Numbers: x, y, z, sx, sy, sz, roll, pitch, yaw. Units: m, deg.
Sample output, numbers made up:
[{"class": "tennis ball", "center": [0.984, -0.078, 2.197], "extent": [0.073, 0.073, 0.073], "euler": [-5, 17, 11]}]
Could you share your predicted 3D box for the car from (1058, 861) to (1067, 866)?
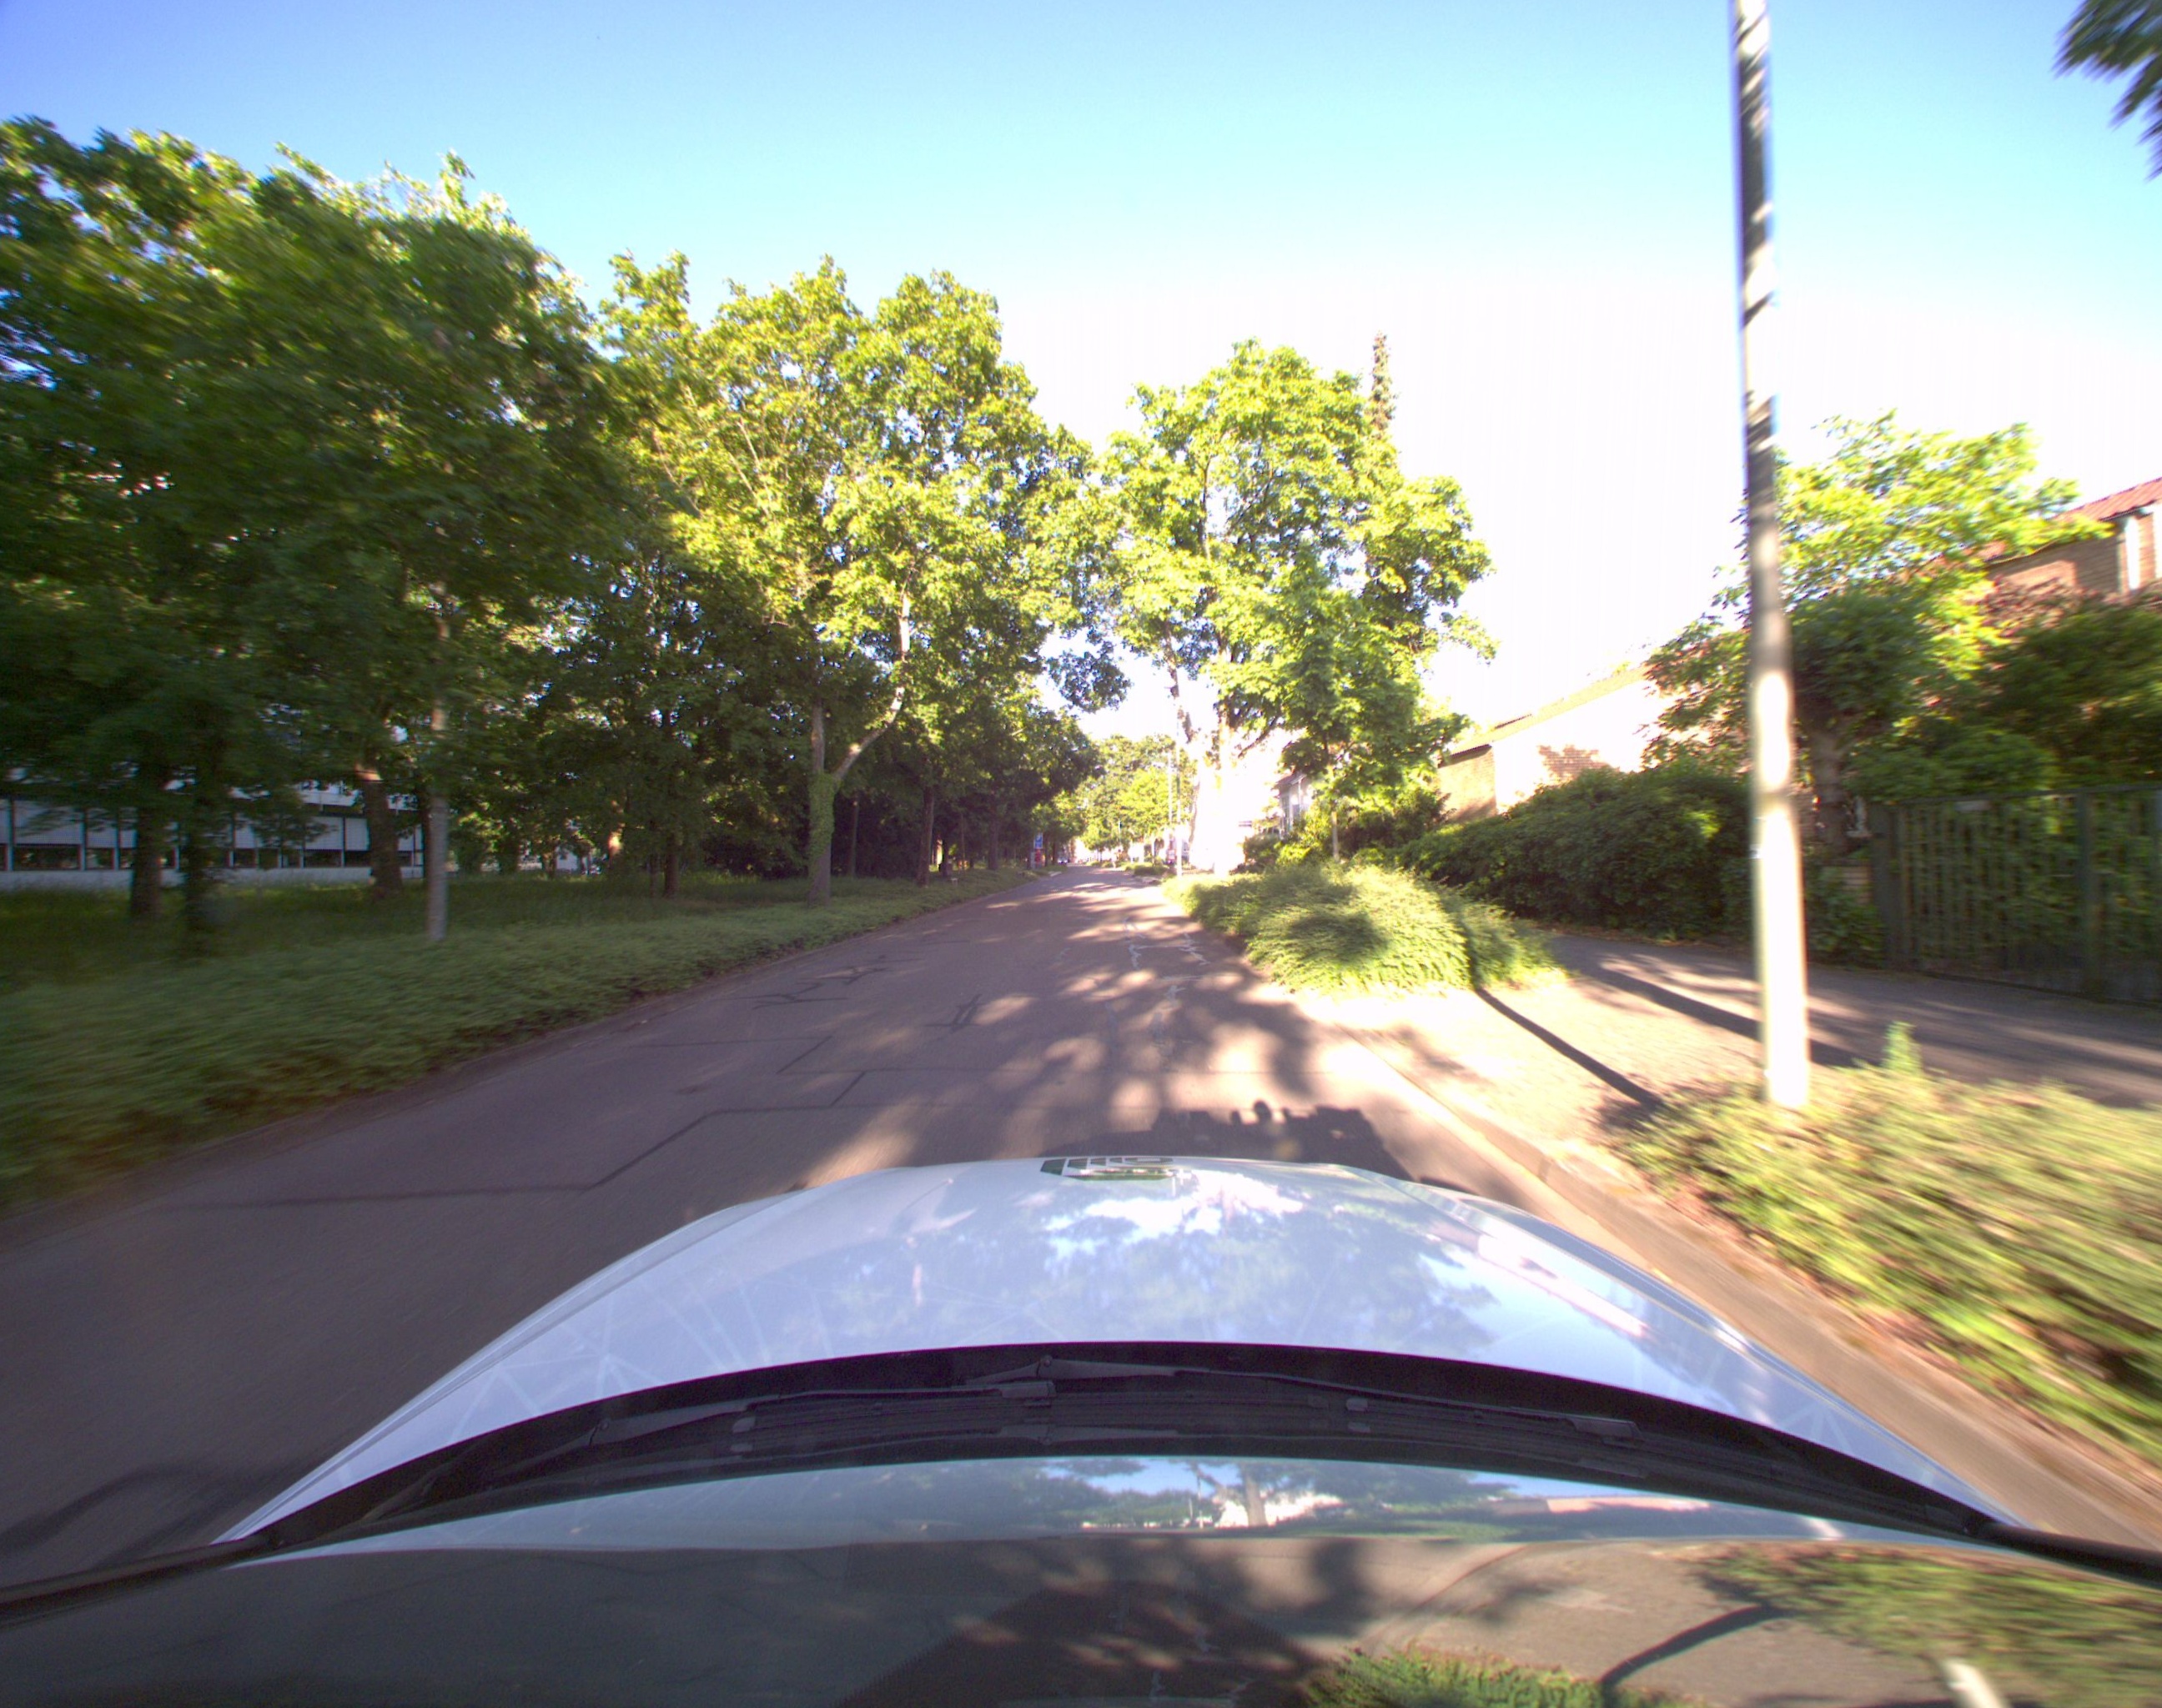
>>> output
[{"class": "car", "center": [-4.841, 2.444, 211.836], "extent": [1.992, 1.354, 3.531], "euler": [0, 0, -8]}]

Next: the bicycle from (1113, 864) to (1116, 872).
[{"class": "bicycle", "center": [4.502, 1.850, 110.187], "extent": [0.437, 0.978, 1.662], "euler": [-1, 1, 2]}]

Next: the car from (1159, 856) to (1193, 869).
[{"class": "car", "center": [12.441, 1.151, 106.670], "extent": [4.326, 1.353, 2.149], "euler": [3, 3, 7]}]

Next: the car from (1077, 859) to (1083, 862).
[{"class": "car", "center": [-0.440, 1.980, 254.246], "extent": [1.833, 0.991, 3.819], "euler": [0, 0, 0]}]

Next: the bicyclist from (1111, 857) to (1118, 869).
[{"class": "bicyclist", "center": [4.507, 1.195, 110.259], "extent": [0.864, 1.641, 1.115], "euler": [0, 1, 2]}]
